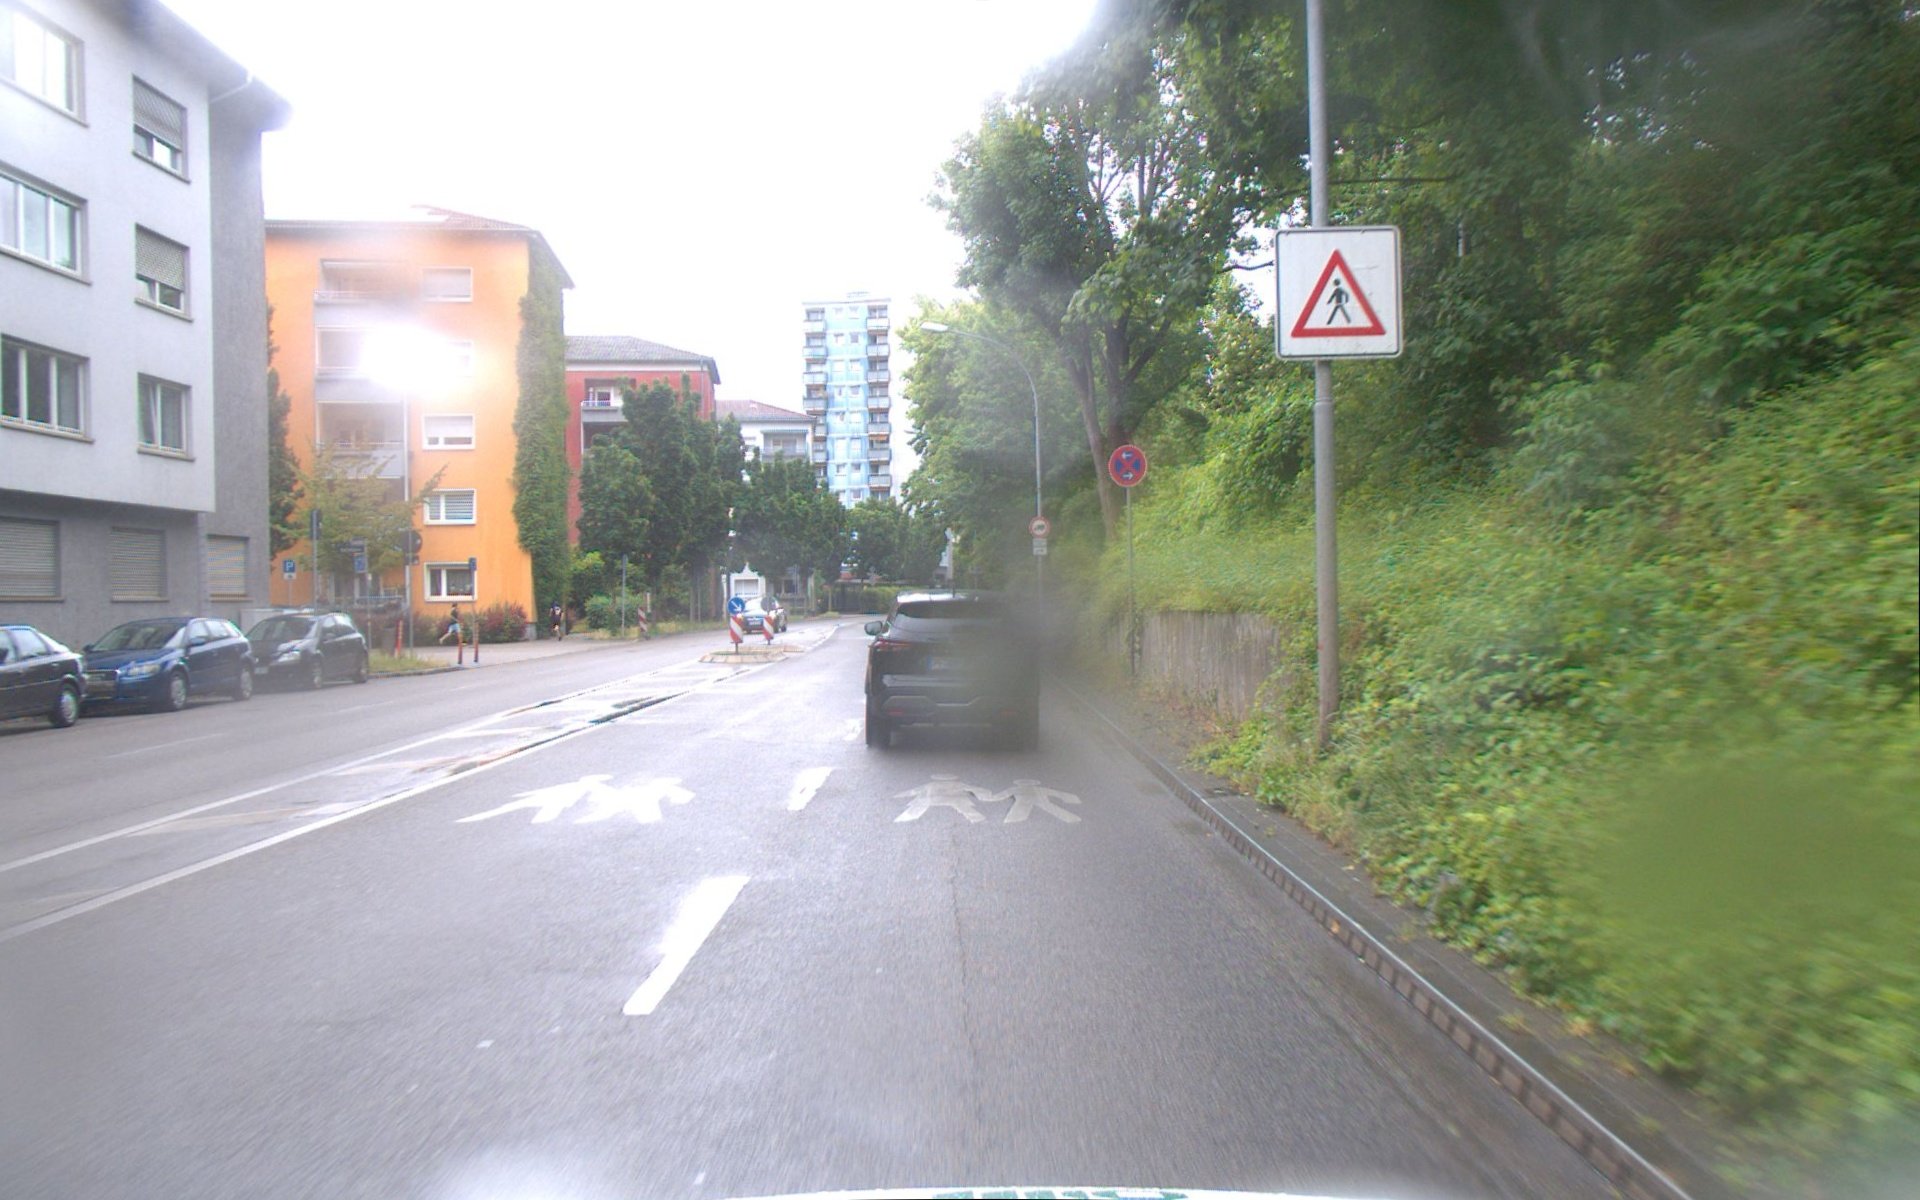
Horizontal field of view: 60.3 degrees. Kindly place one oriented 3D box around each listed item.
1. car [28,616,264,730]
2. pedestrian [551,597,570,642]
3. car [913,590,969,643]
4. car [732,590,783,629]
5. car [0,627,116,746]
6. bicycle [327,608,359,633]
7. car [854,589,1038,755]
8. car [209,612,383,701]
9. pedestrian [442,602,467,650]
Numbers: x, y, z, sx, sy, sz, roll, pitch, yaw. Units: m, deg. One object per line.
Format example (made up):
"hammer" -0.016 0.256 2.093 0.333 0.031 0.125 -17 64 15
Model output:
"car" -12.742 1.082 26.211 1.647 1.474 4.274 -4 1 -2
"pedestrian" -15.252 0.731 63.151 0.597 1.703 0.594 -2 0 -4
"car" -0.672 0.540 56.796 1.849 1.741 3.999 -1 0 -1
"car" -8.626 0.392 70.735 1.752 1.530 4.646 -2 0 -3
"car" -12.672 1.159 20.988 1.655 1.381 4.577 -4 1 -2
"bicycle" -20.153 0.671 54.037 0.455 0.762 1.547 -2 0 0
"car" -0.208 0.691 18.214 1.808 1.610 3.998 0 0 -2
"car" -12.869 1.039 32.323 1.678 1.450 4.321 -3 1 -2
"pedestrian" -17.655 0.919 57.765 0.574 1.632 0.661 -2 0 0
